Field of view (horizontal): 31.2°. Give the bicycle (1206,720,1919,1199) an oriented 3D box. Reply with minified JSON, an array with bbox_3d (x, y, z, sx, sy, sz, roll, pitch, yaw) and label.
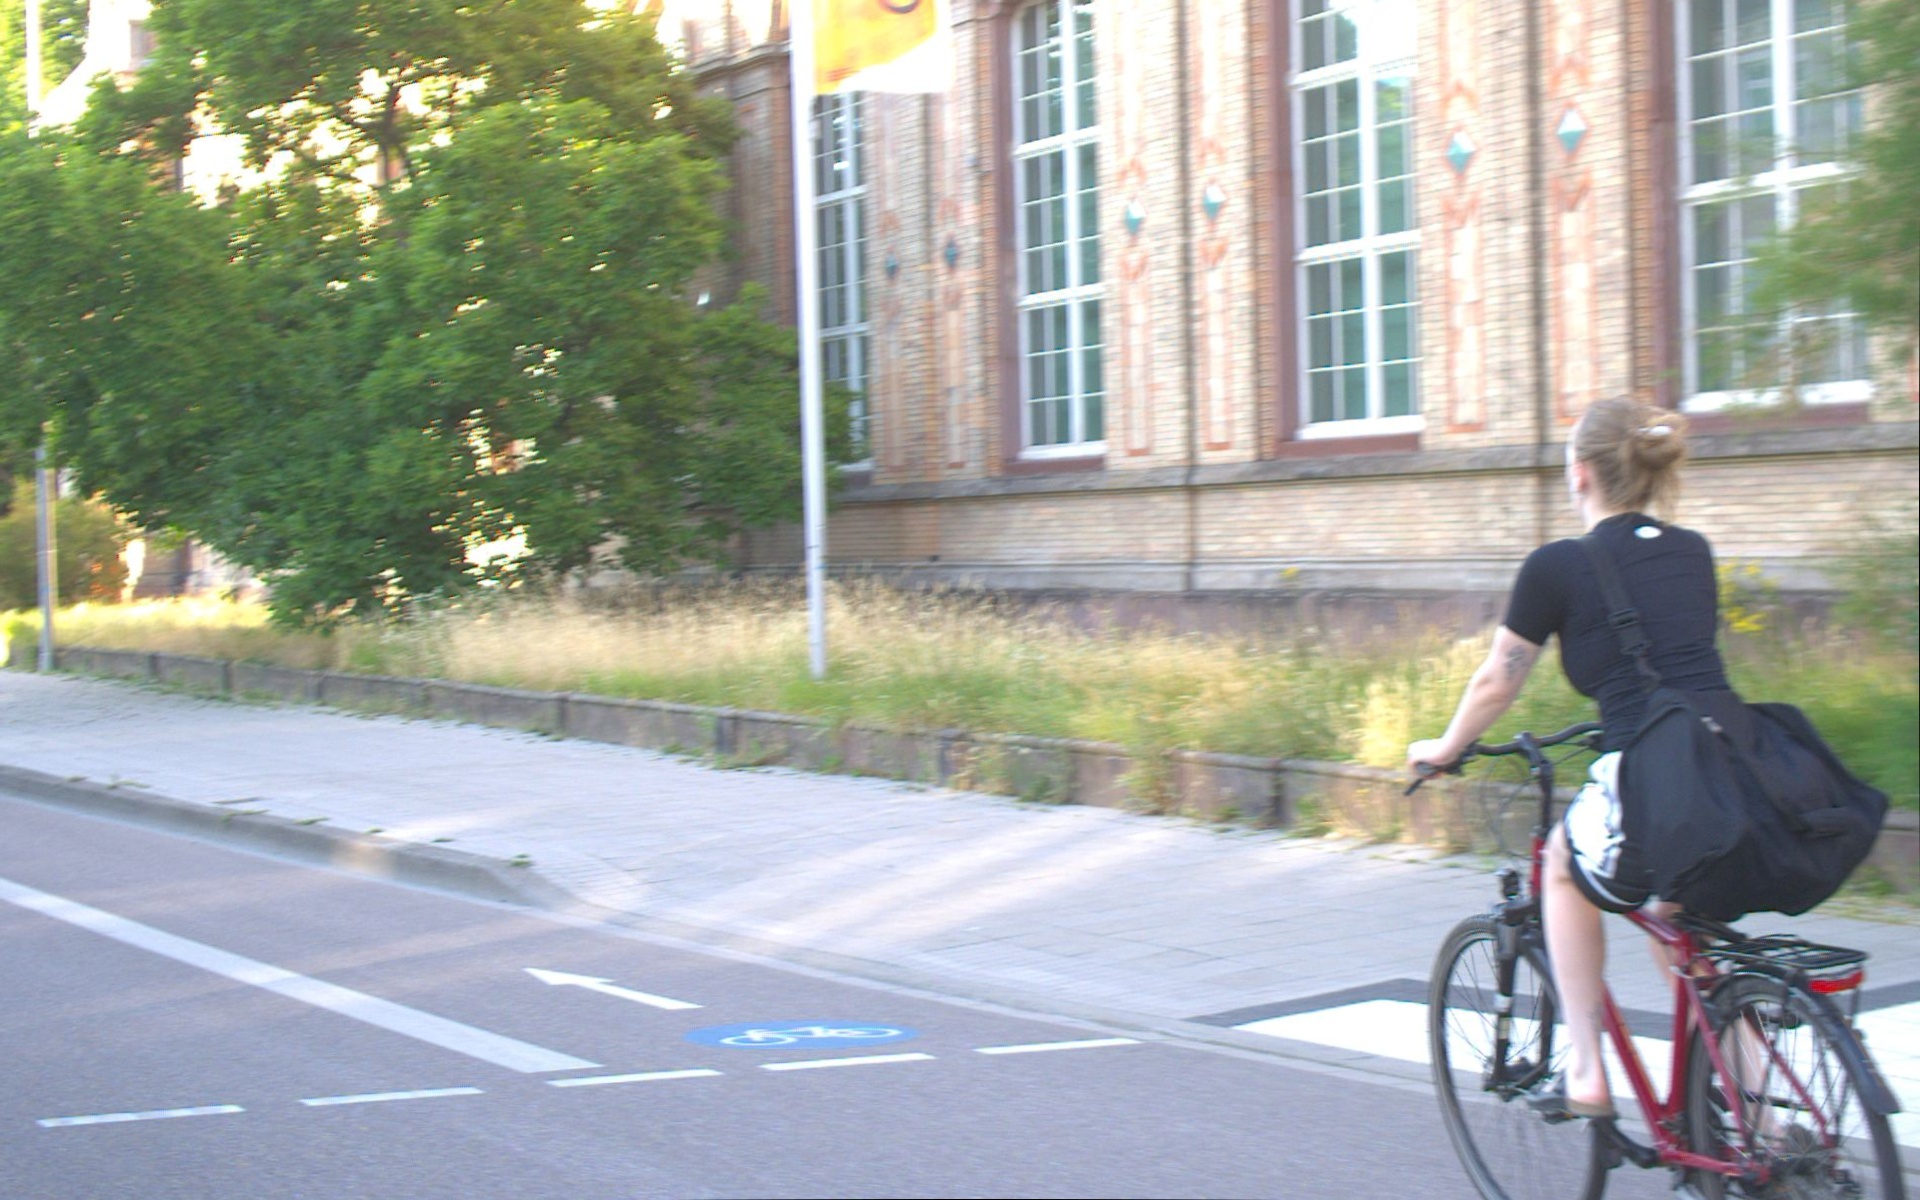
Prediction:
[{"bbox_3d":[1.225,0.855,6.673,0.711,1.152,2.069,0,0,-20],"label":"bicycle"}]

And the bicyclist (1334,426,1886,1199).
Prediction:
[{"bbox_3d":[1.232,0.435,6.637,0.716,1.497,0.851,0,0,-19],"label":"bicyclist"}]
